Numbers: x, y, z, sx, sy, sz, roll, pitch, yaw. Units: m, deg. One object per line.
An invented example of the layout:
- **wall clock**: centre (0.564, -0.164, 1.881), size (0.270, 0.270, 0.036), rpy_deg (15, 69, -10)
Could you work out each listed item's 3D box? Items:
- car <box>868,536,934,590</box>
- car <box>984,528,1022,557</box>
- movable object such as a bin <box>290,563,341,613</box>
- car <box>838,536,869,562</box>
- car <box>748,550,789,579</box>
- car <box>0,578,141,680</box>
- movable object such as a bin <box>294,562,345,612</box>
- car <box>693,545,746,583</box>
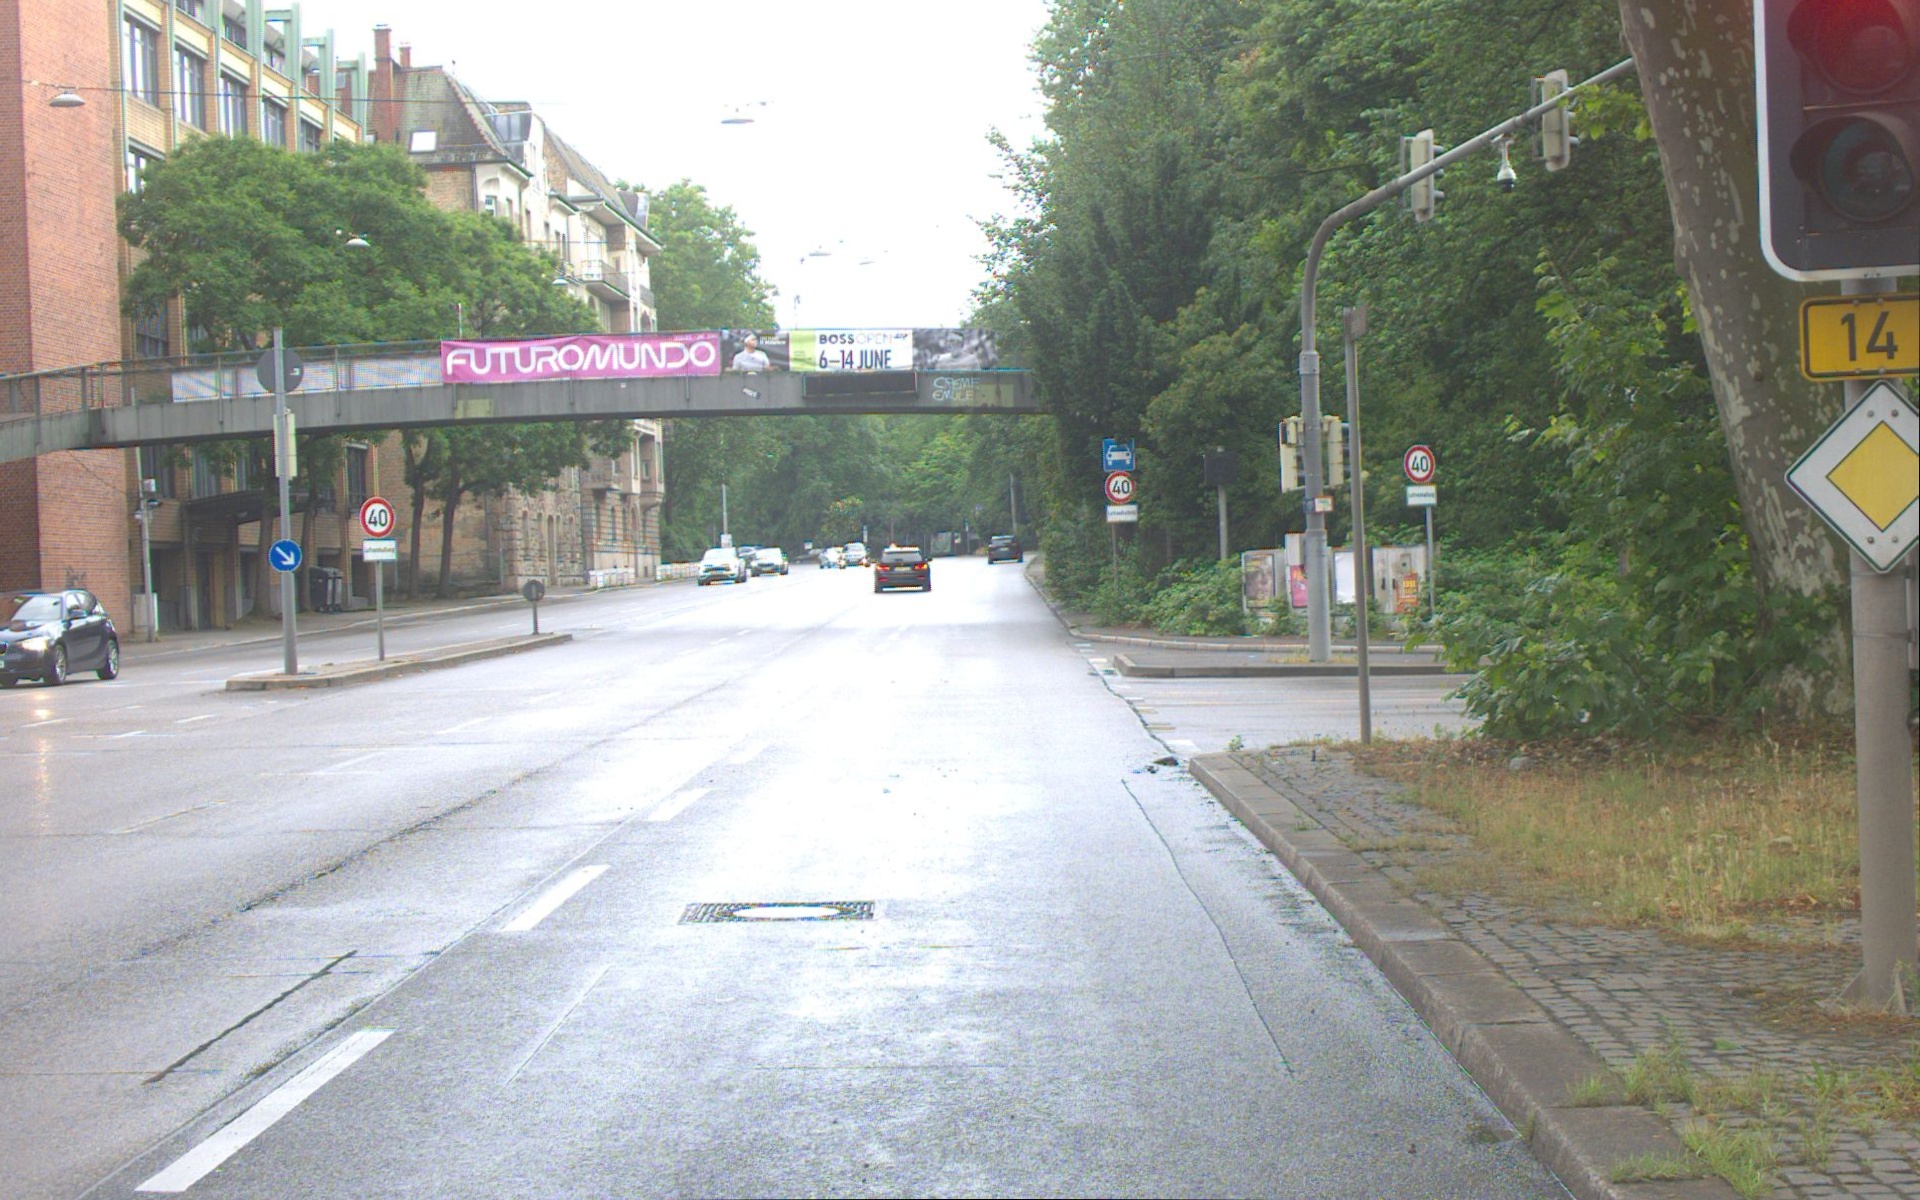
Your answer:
- **car**: centre (-1.925, -1.180, 110.545), size (2.004, 1.638, 4.376), rpy_deg (-2, 1, -2)
- **car**: centre (2.242, -2.993, 179.198), size (1.842, 1.448, 3.777), rpy_deg (1, 1, -1)
- **movable object such as a bin**: centre (-20.092, -0.371, 107.131), size (1.282, 1.513, 1.273), rpy_deg (-1, 1, 1)
- **car**: centre (-6.281, -2.991, 203.026), size (1.683, 1.431, 3.862), rpy_deg (-2, 0, 0)
- **car**: centre (-10.037, -1.847, 180.054), size (1.709, 1.459, 4.041), rpy_deg (-2, 0, 3)
- **car**: centre (-13.644, 0.437, 50.992), size (1.686, 1.414, 4.214), rpy_deg (-2, 0, 4)
- **movable object such as a bin**: centre (-20.218, -0.411, 108.536), size (1.299, 1.513, 1.214), rpy_deg (-1, 1, 1)
- **car**: centre (-10.739, -1.609, 153.981), size (1.890, 1.604, 4.456), rpy_deg (-1, 0, 2)
